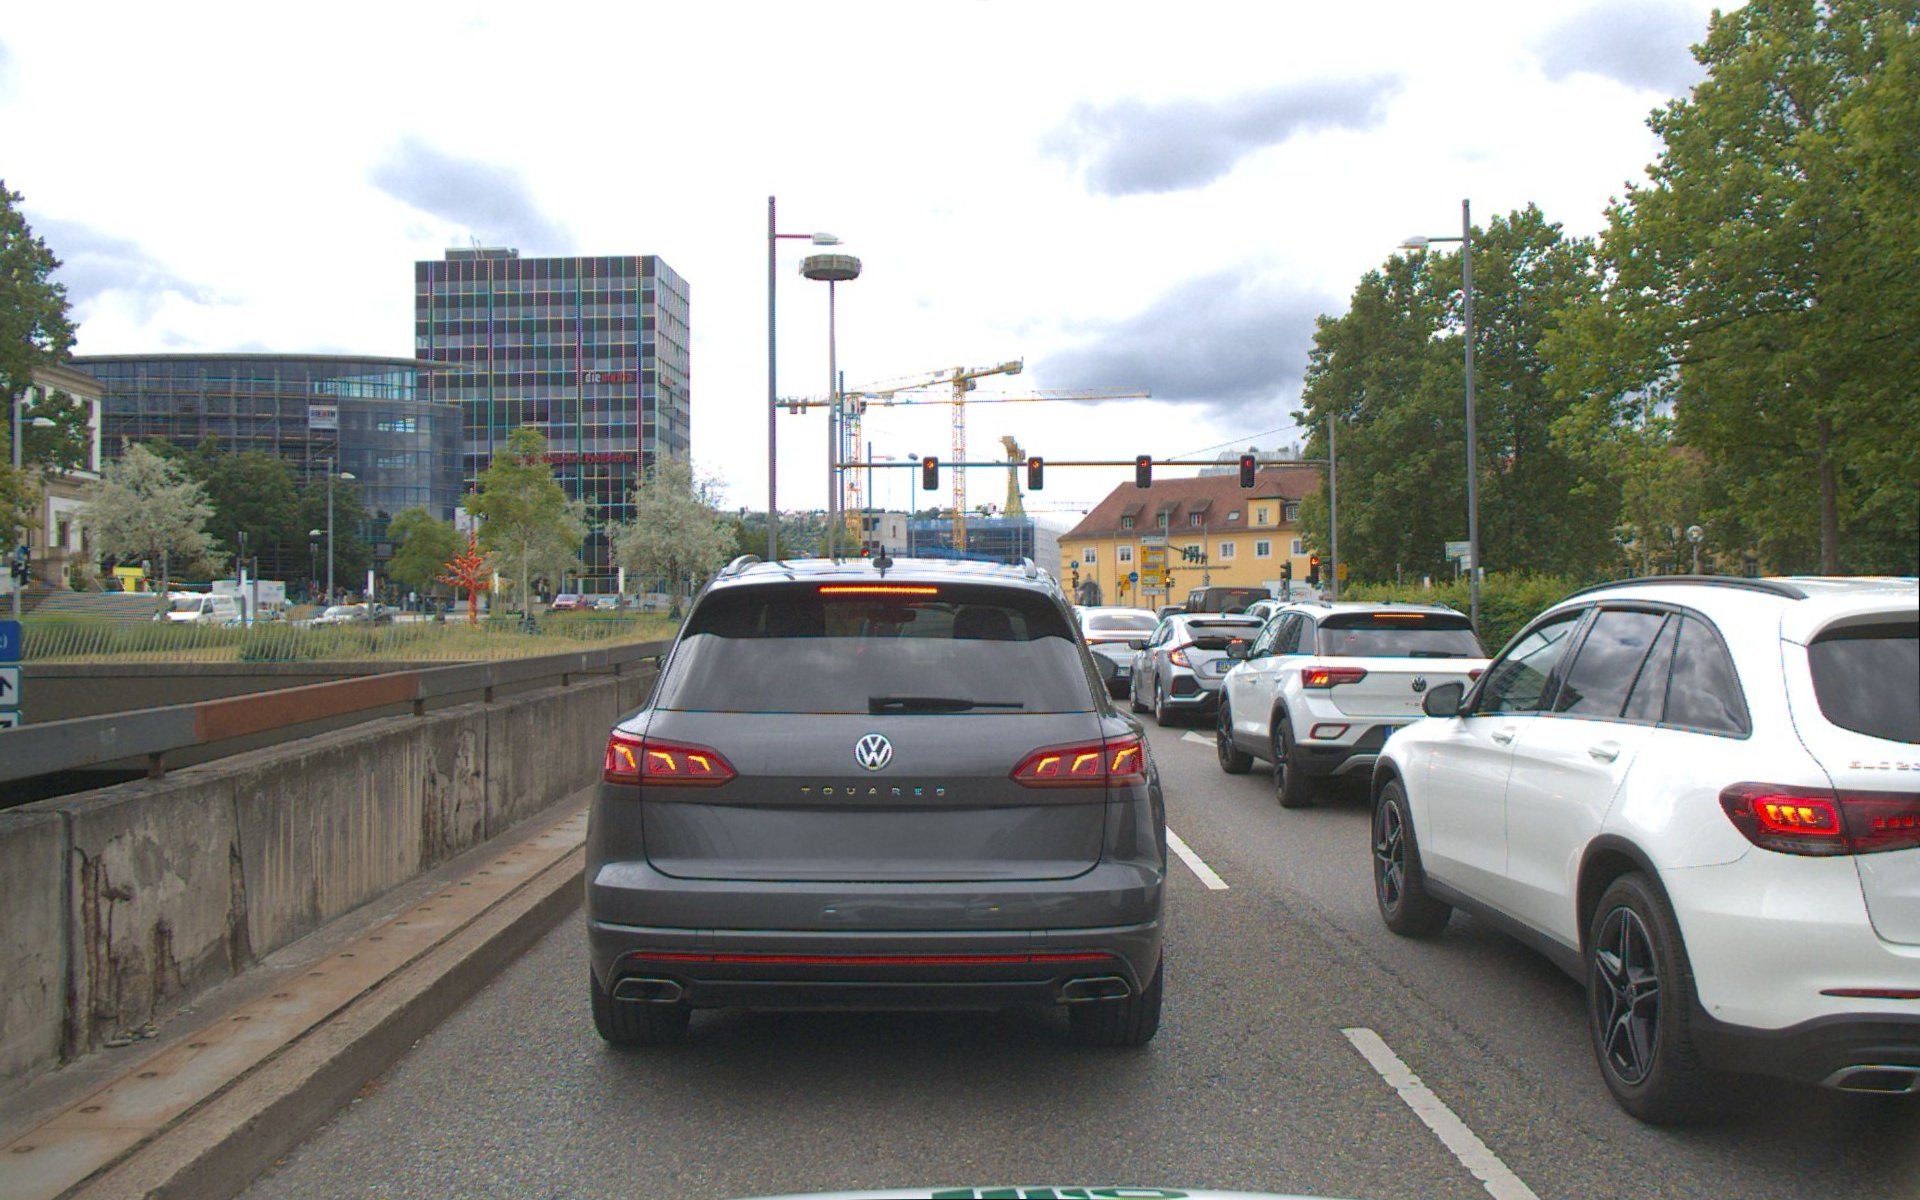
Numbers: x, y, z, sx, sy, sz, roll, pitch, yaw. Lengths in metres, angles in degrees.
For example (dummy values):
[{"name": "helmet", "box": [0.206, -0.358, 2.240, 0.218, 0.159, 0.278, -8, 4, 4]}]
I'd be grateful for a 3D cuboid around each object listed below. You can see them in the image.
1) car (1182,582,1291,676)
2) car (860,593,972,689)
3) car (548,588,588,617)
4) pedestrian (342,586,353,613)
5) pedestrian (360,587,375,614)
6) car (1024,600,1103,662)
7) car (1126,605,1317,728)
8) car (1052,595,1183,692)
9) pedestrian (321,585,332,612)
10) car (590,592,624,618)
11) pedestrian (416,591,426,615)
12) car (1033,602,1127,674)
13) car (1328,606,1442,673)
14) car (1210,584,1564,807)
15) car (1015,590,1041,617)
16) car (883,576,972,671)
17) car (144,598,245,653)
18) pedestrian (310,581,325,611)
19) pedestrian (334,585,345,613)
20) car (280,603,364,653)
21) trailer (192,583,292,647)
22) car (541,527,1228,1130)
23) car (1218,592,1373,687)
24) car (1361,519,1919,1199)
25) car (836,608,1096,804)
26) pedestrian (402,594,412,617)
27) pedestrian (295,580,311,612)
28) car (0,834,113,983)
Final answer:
[{"name": "car", "box": [6.482, 0.681, 39.184, 1.871, 2.049, 4.012, 2, -1, 0]}, {"name": "car", "box": [-0.802, 0.719, 30.989, 1.912, 1.628, 3.930, 2, 0, -1]}, {"name": "car", "box": [-29.353, 0.174, 123.863, 1.953, 2.048, 4.691, 0, 1, -1]}, {"name": "pedestrian", "box": [-46.949, -0.036, 126.823, 0.728, 2.049, 1.076, -1, 1, -22]}, {"name": "pedestrian", "box": [-45.801, 0.025, 127.808, 0.774, 2.049, 0.741, 0, 1, 21]}, {"name": "car", "box": [2.708, 0.816, 44.046, 1.887, 1.556, 4.047, 1, -1, 0]}, {"name": "car", "box": [3.381, 0.832, 22.222, 1.887, 1.457, 4.489, 1, -1, 0]}, {"name": "car", "box": [2.667, 0.732, 28.938, 1.887, 1.556, 4.489, 1, -1, 0]}, {"name": "pedestrian", "box": [-47.826, -0.105, 124.859, 0.729, 2.049, 0.914, -1, 1, -24]}, {"name": "car", "box": [-29.918, 0.412, 140.174, 1.953, 2.048, 4.691, 0, 1, -1]}, {"name": "pedestrian", "box": [-46.777, 0.276, 143.549, 0.726, 2.049, 0.789, -1, 1, -16]}, {"name": "car", "box": [2.684, 0.847, 37.757, 1.887, 1.556, 4.047, 1, -1, 0]}, {"name": "car", "box": [10.229, 0.958, 40.108, 1.891, 1.485, 4.529, 1, -1, 4]}, {"name": "car", "box": [3.398, 0.711, 14.073, 1.887, 1.578, 4.489, 1, -1, 0]}, {"name": "car", "box": [4.551, 0.253, 111.399, 1.586, 1.656, 3.999, 2, -1, 0]}, {"name": "car", "box": [-0.755, 0.528, 38.526, 1.912, 2.053, 3.930, 2, 0, -1]}, {"name": "car", "box": [-31.364, 1.012, 67.939, 1.953, 2.048, 4.692, 0, 1, 0]}, {"name": "pedestrian", "box": [-44.797, -0.258, 115.283, 0.723, 2.049, 0.793, -1, 1, 0]}, {"name": "pedestrian", "box": [-46.828, -0.079, 124.780, 0.729, 2.049, 0.914, -1, 1, -24]}, {"name": "car", "box": [-28.577, 1.238, 74.279, 1.953, 2.048, 4.692, 0, 1, 0]}, {"name": "trailer", "box": [-31.618, 0.607, 73.034, 1.996, 2.650, 5.507, 2, 1, -1]}, {"name": "car", "box": [-0.239, 0.645, 6.634, 1.912, 1.680, 3.999, 0, 0, -1]}, {"name": "car", "box": [6.497, 0.717, 32.500, 1.954, 1.668, 4.302, 0, 1, -3]}, {"name": "car", "box": [2.982, 0.644, 6.236, 1.887, 1.682, 4.490, 0, 0, 0]}, {"name": "car", "box": [0.013, 0.804, 14.372, 1.912, 1.408, 3.930, 2, 0, -1]}, {"name": "pedestrian", "box": [-49.140, 0.486, 146.955, 0.728, 2.049, 0.787, -1, 1, -23]}, {"name": "pedestrian", "box": [-43.026, -0.256, 108.267, 0.723, 2.049, 0.793, -1, -2, 0]}, {"name": "car", "box": [-20.177, 6.358, 33.856, 2.566, 2.351, 5.933, 2, -1, -1]}]
